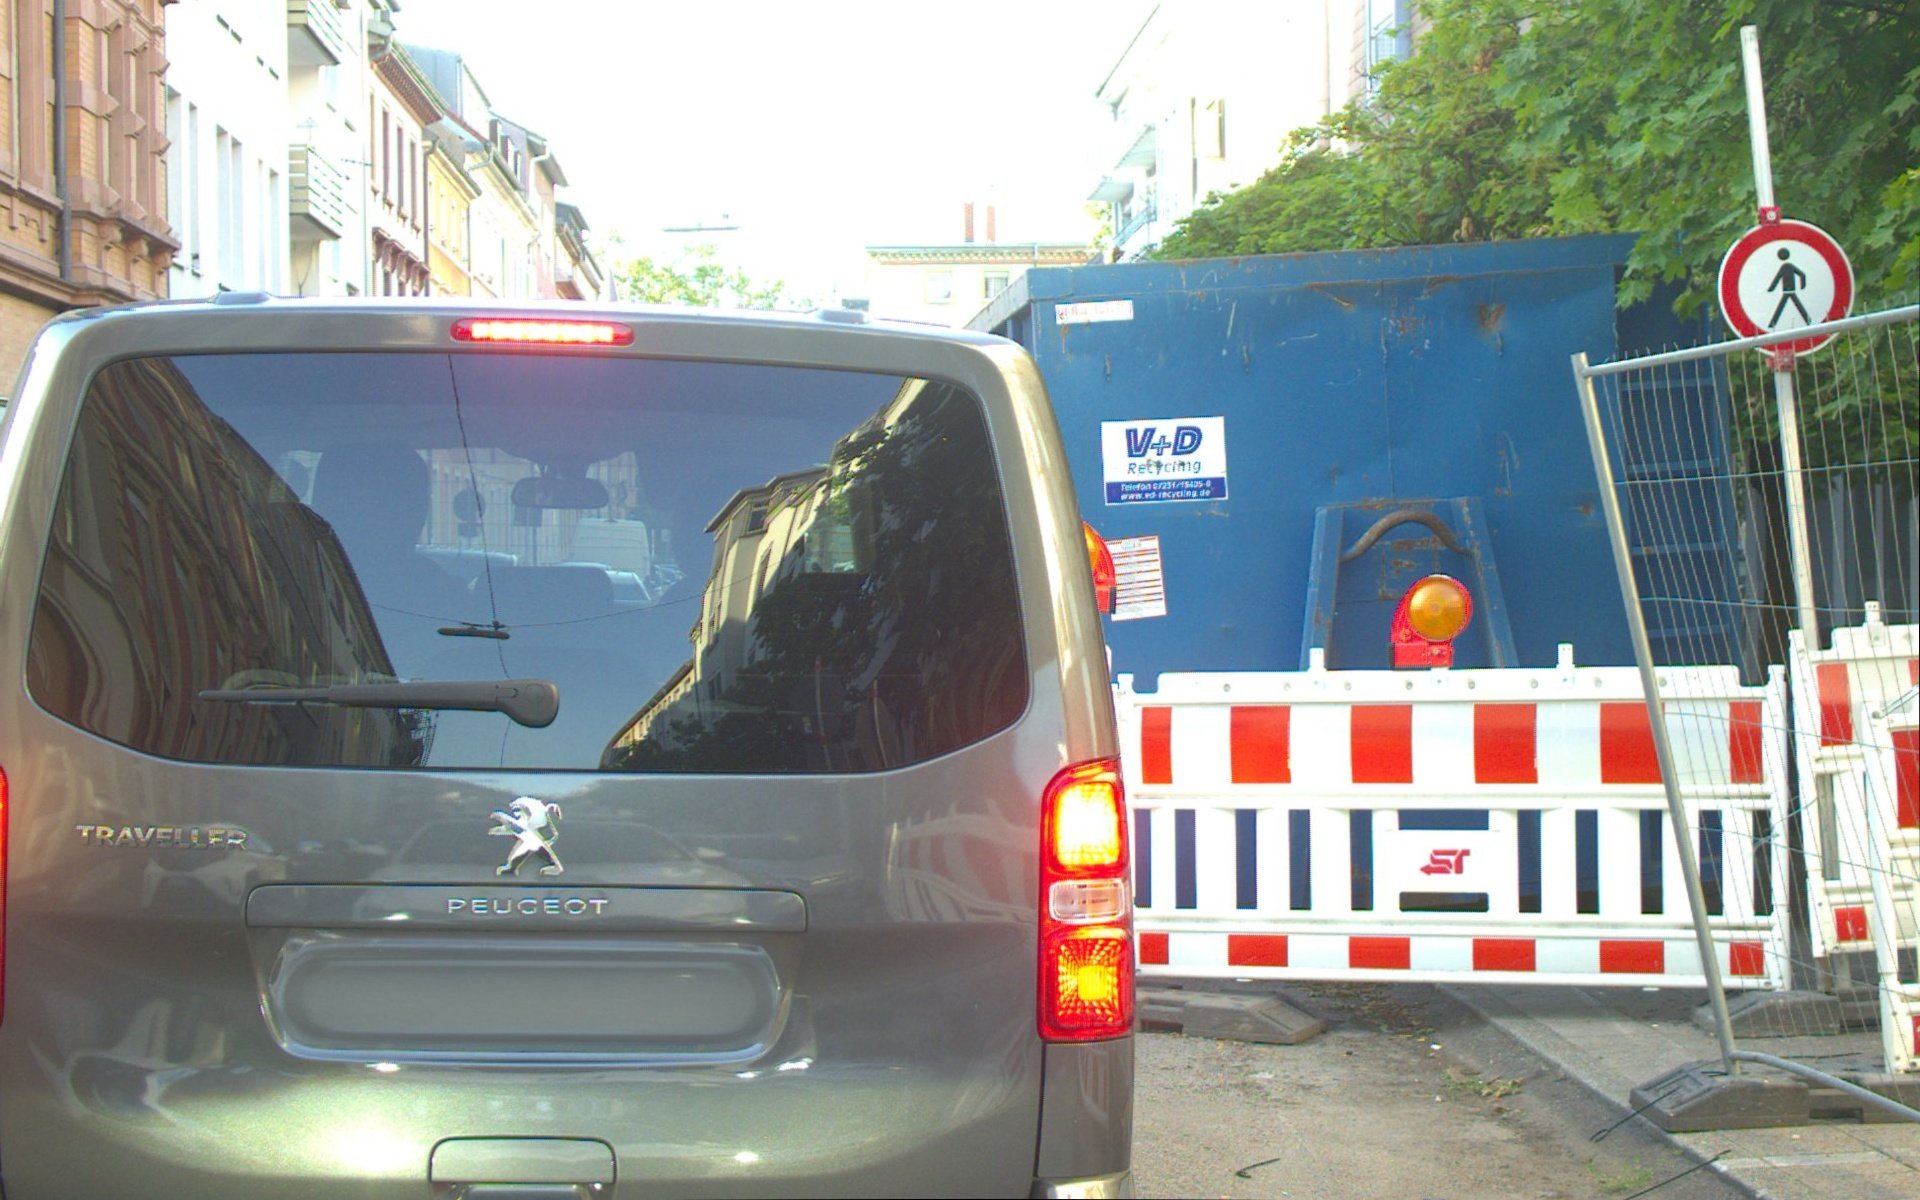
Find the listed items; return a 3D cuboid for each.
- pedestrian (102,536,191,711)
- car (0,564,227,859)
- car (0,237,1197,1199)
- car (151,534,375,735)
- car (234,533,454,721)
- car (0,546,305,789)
[{"bbox_3d":[-7.874,0.218,33.295,0.739,1.659,0.704,-1,1,-7],"label":"pedestrian"},{"bbox_3d":[-5.198,0.551,19.427,1.655,1.455,3.418,4,0,-7],"label":"car"},{"bbox_3d":[-0.846,0.455,6.695,1.865,1.880,4.236,0,0,-7],"label":"car"},{"bbox_3d":[-6.394,0.300,31.817,1.666,1.660,3.092,4,0,-7],"label":"car"},{"bbox_3d":[-6.292,0.256,35.462,1.891,1.714,3.755,4,0,-7],"label":"car"},{"bbox_3d":[-5.732,0.449,24.735,1.655,1.520,3.418,4,0,-7],"label":"car"}]
